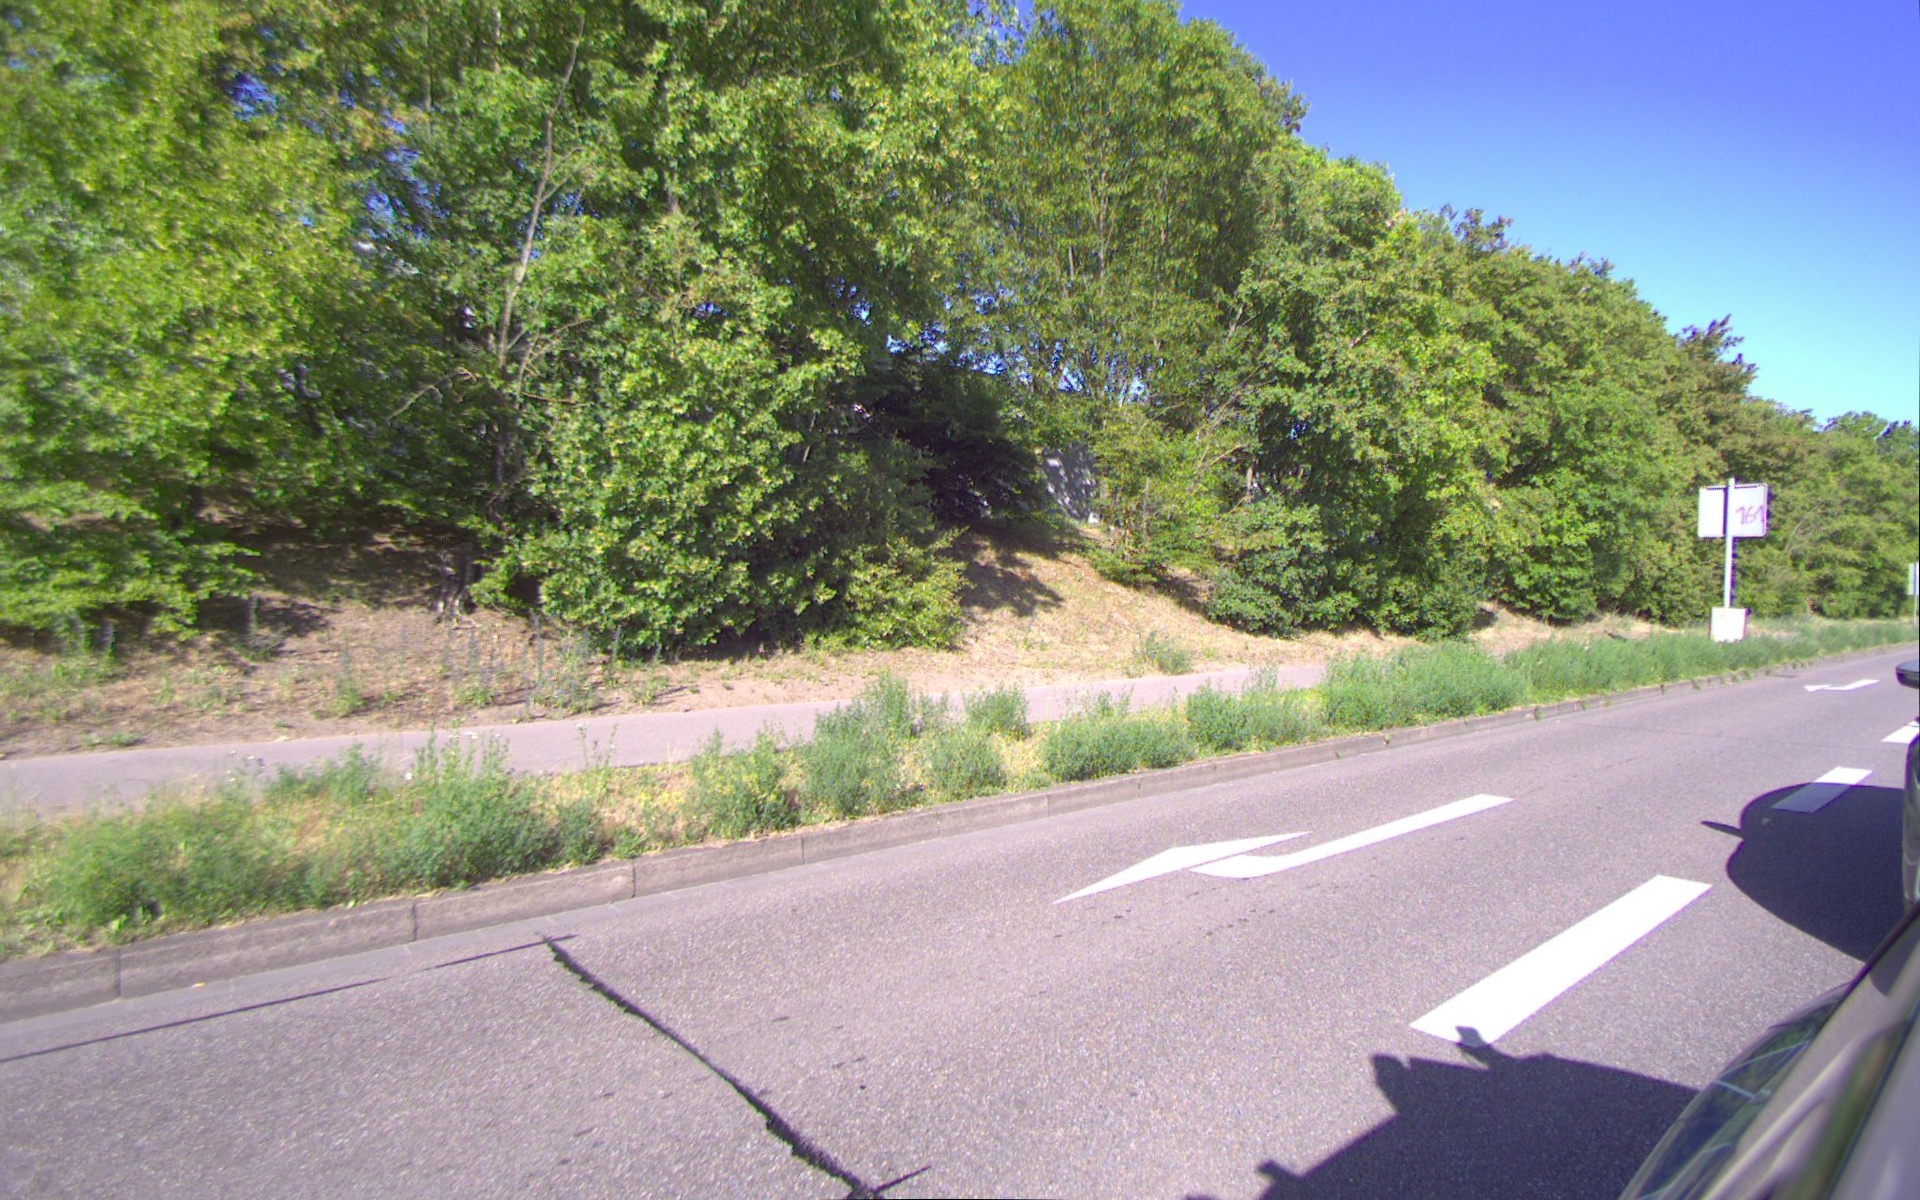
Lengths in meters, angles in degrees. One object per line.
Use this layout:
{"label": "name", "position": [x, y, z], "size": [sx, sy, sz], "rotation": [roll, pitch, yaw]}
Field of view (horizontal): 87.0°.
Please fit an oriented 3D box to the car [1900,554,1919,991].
{"label": "car", "position": [5.583, 0.652, 4.342], "size": [3.863, 1.617, 1.869], "rotation": [0, 0, -41]}
